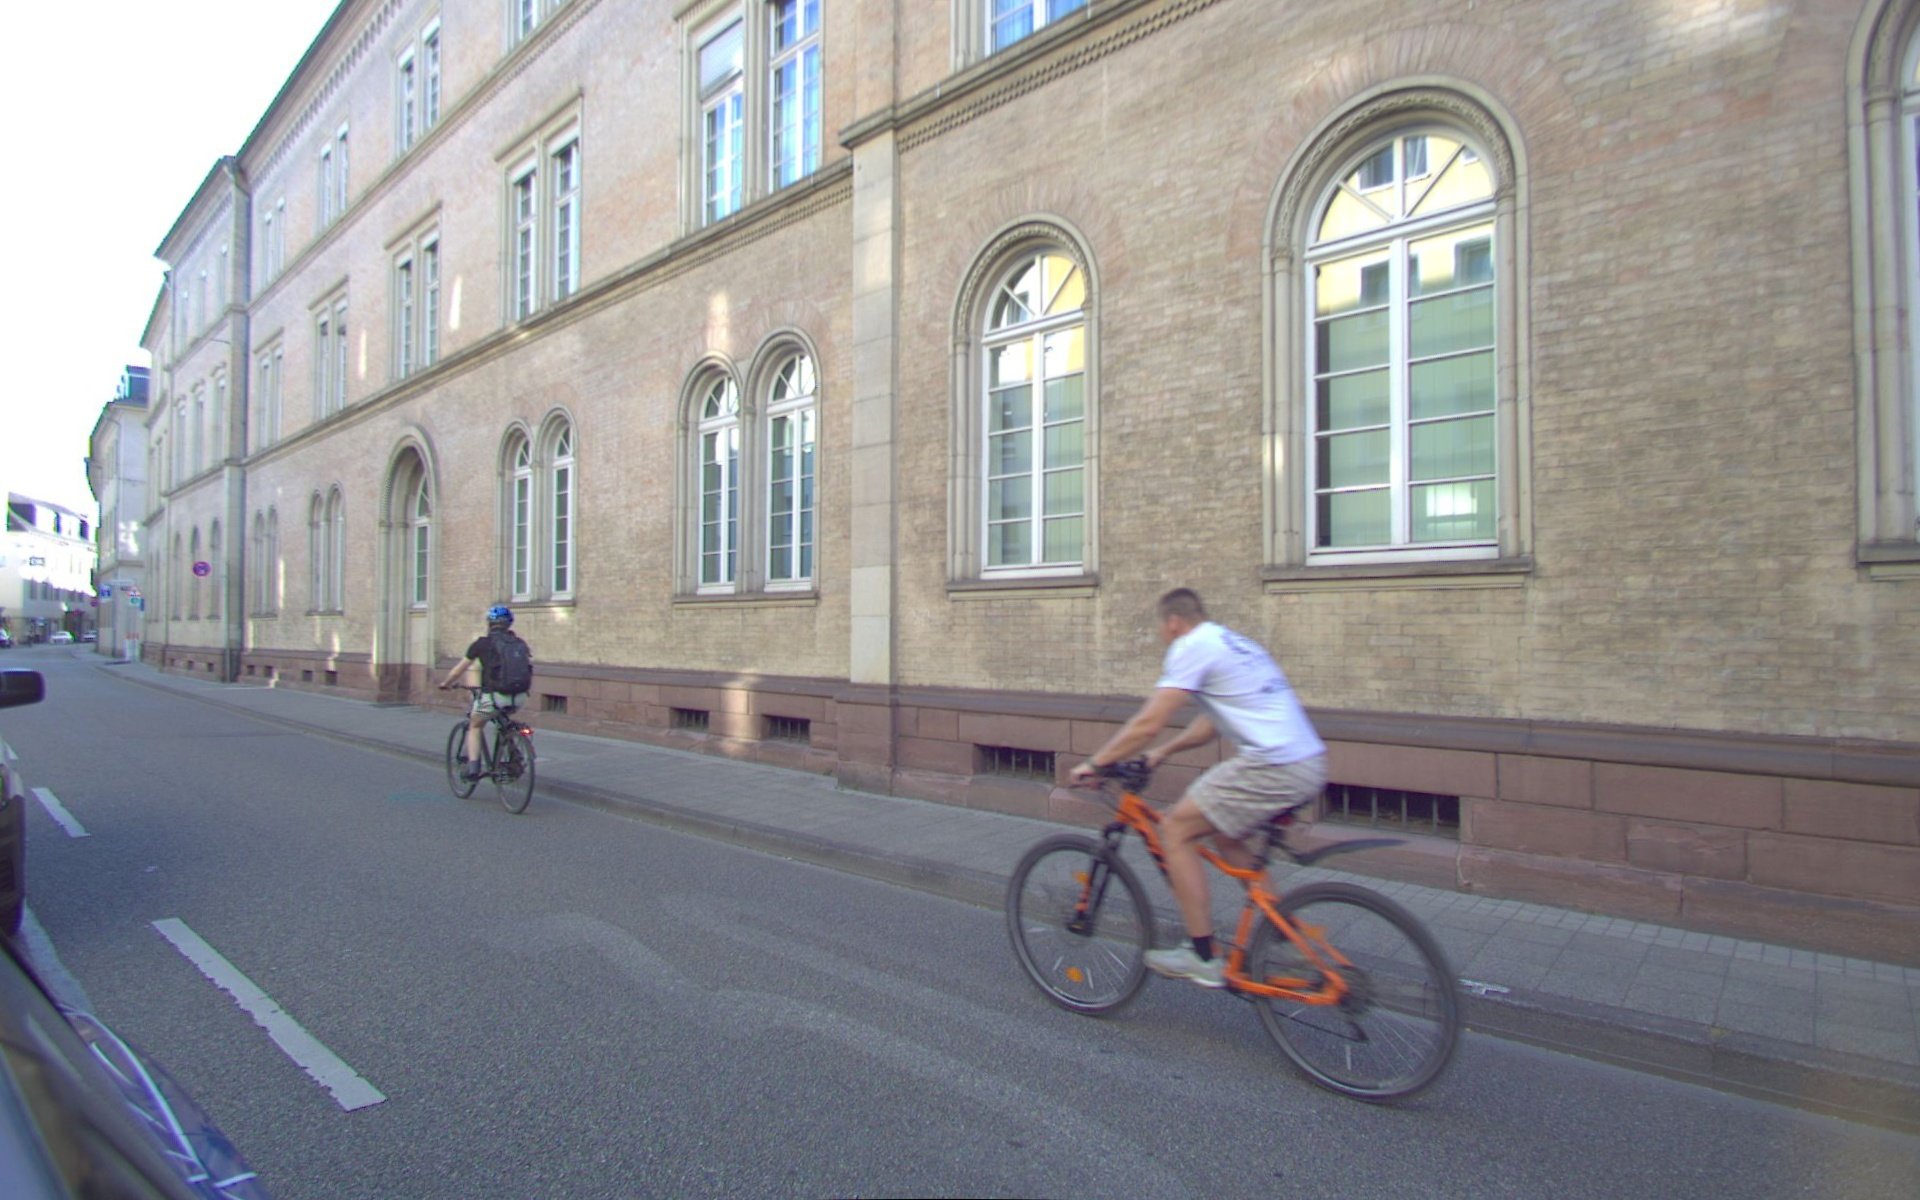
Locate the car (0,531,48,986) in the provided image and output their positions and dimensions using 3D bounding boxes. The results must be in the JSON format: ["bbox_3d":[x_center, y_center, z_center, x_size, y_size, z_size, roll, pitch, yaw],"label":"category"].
[{"bbox_3d":[-6.415,0.686,5.300,5.338,1.850,1.795,-2,-2,41],"label":"car"}]

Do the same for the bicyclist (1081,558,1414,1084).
[{"bbox_3d":[1.024,0.692,3.635,0.960,1.579,0.643,-2,-5,41],"label":"bicyclist"}]

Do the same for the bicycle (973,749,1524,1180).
[{"bbox_3d":[0.950,1.132,3.660,1.805,1.014,0.643,-2,-5,41],"label":"bicycle"}]

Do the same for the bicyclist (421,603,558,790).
[{"bbox_3d":[-4.137,0.819,8.888,1.111,1.520,0.643,-2,-5,42],"label":"bicyclist"}]

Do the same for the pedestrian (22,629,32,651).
[{"bbox_3d":[-84.126,3.587,91.255,0.635,1.964,0.779,1,-3,-40],"label":"pedestrian"}]

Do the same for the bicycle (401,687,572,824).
[{"bbox_3d":[-4.194,1.305,8.896,1.875,1.014,0.643,-2,-5,42],"label":"bicycle"}]
